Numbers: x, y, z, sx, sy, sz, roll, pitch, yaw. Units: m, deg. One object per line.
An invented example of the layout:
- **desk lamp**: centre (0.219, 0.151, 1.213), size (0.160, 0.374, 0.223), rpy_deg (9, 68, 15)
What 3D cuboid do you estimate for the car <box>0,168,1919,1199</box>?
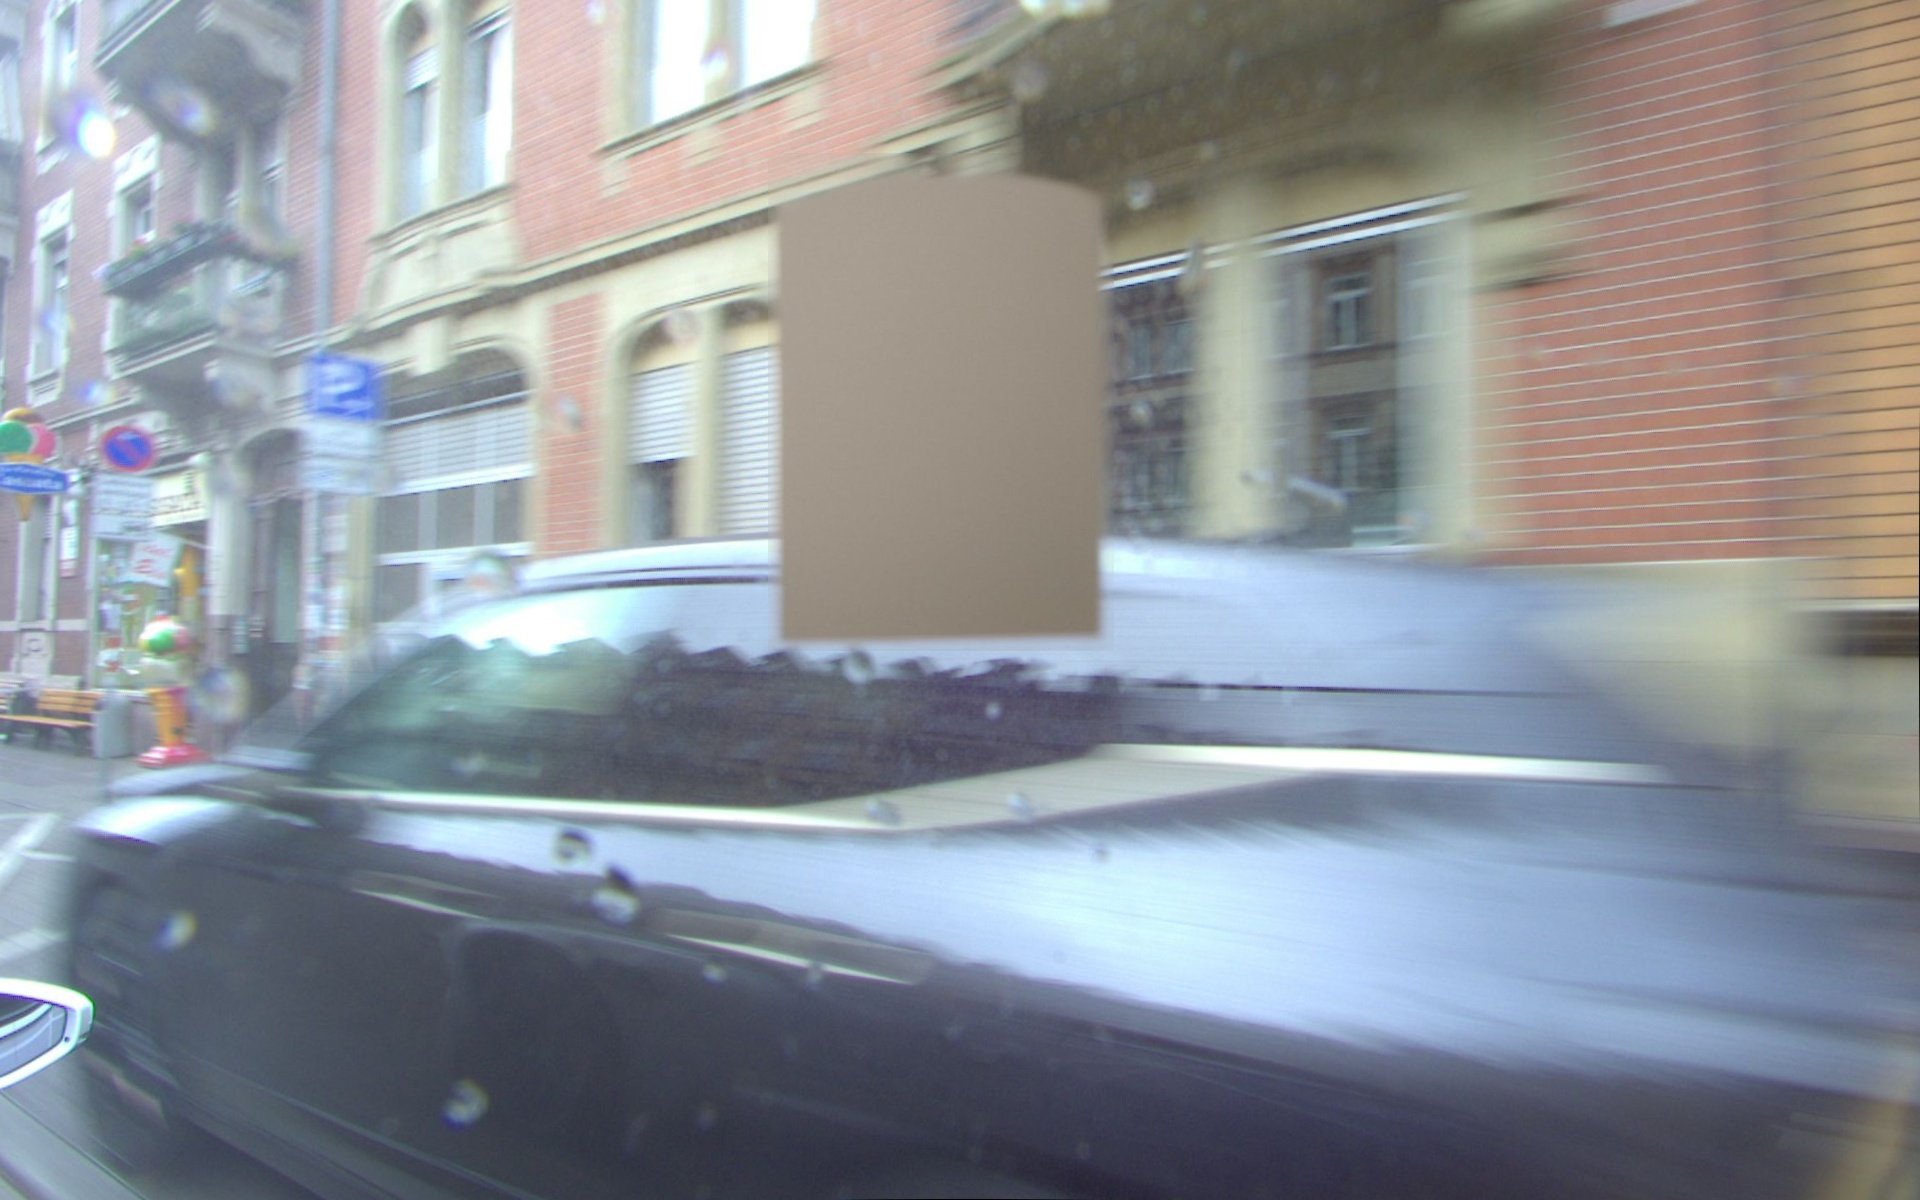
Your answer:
- **car**: centre (-0.434, 0.645, 2.643), size (4.756, 1.802, 1.991), rpy_deg (-1, -2, 32)
